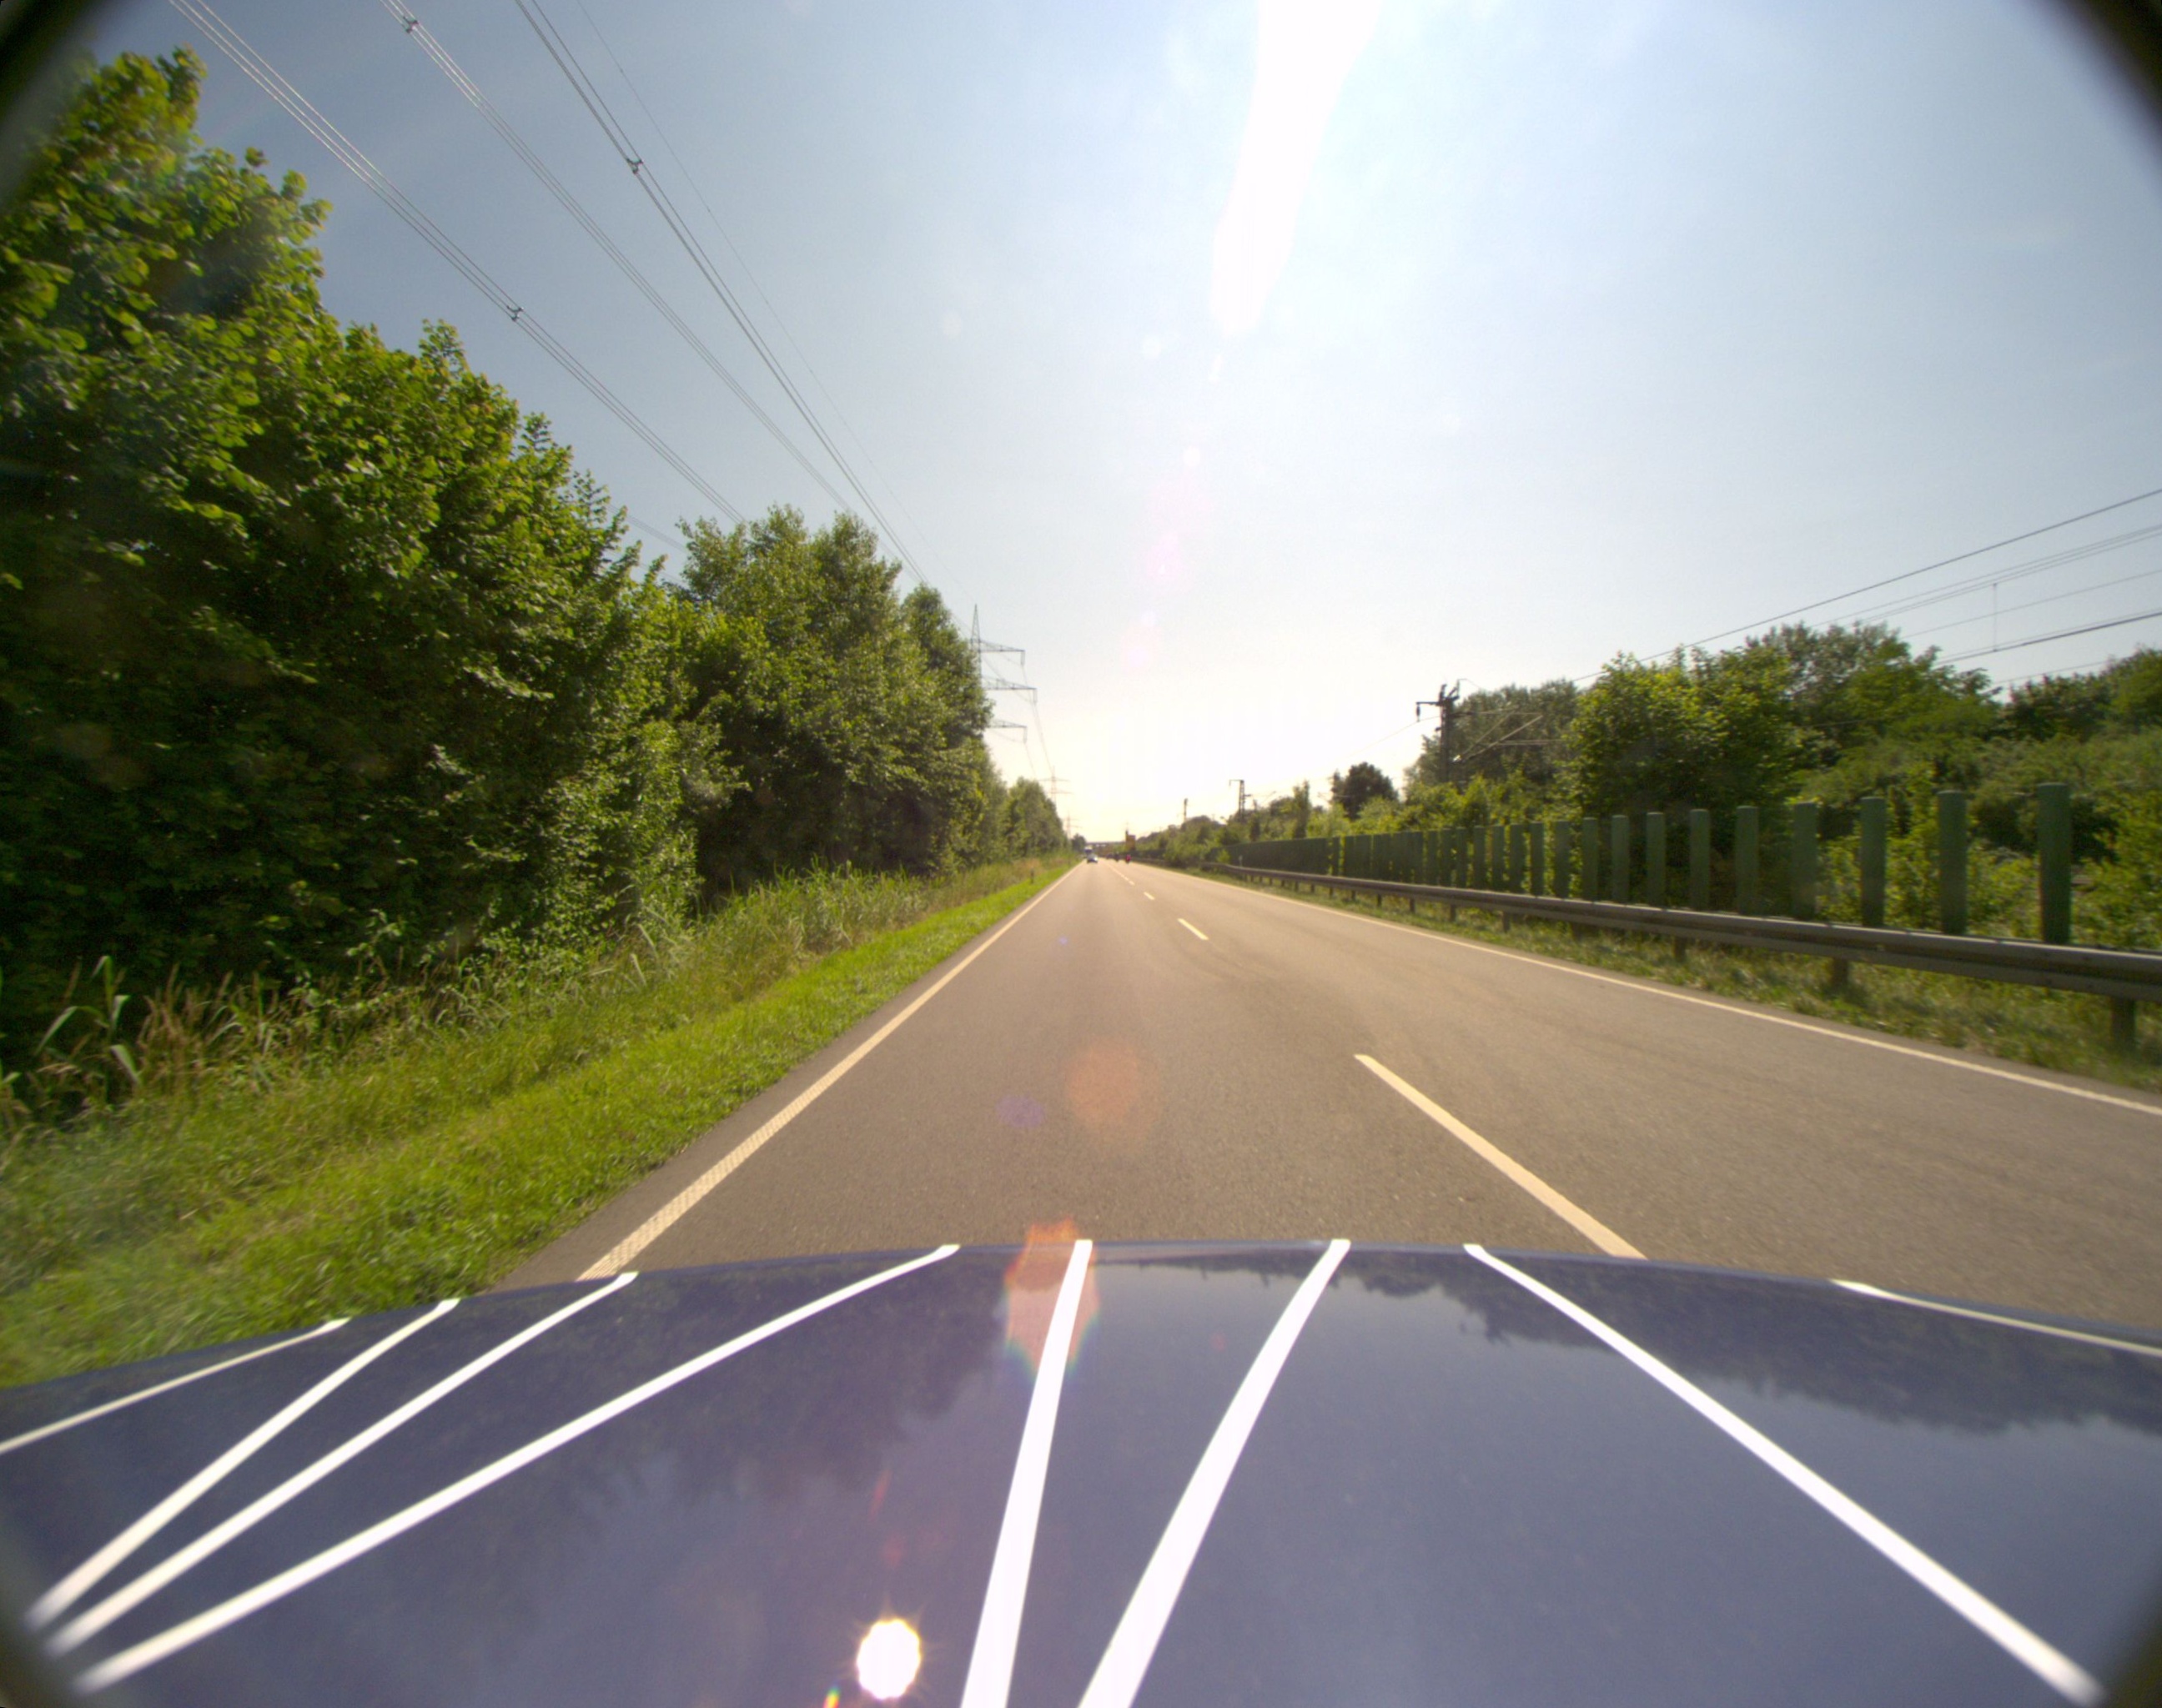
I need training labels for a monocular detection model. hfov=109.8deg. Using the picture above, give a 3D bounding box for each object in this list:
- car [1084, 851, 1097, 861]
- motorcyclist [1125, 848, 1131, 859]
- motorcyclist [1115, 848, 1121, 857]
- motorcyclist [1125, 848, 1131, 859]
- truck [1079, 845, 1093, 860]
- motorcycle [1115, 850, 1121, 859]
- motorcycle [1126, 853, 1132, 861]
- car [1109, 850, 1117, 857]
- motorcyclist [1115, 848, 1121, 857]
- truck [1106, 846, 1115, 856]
[{"bbox_3d":[1.476,0.291,119.975,1.998,1.346,4.157,-2,1,0],"label":"car"},{"bbox_3d":[6.646,-0.094,106.917,0.751,1.574,0.863,-2,1,2],"label":"motorcyclist"},{"bbox_3d":[6.369,-0.285,130.266,0.961,1.600,1.003,-2,1,2],"label":"motorcyclist"},{"bbox_3d":[6.685,-0.107,107.868,0.760,1.574,1.003,-2,1,2],"label":"motorcyclist"},{"bbox_3d":[1.600,-0.580,253.930,4.219,4.608,21.302,-2,0,0],"label":"truck"},{"bbox_3d":[6.367,0.025,129.940,0.970,1.487,2.630,-2,1,3],"label":"motorcycle"},{"bbox_3d":[6.790,0.422,107.788,0.756,1.008,2.721,-2,1,3],"label":"motorcycle"},{"bbox_3d":[8.139,-0.192,192.501,1.819,1.684,4.706,-1,0,1],"label":"car"},{"bbox_3d":[6.322,-0.272,129.258,0.961,1.600,1.003,-2,1,2],"label":"motorcyclist"},{"bbox_3d":[8.185,-0.838,210.480,2.085,2.631,5.704,-1,0,1],"label":"truck"}]
